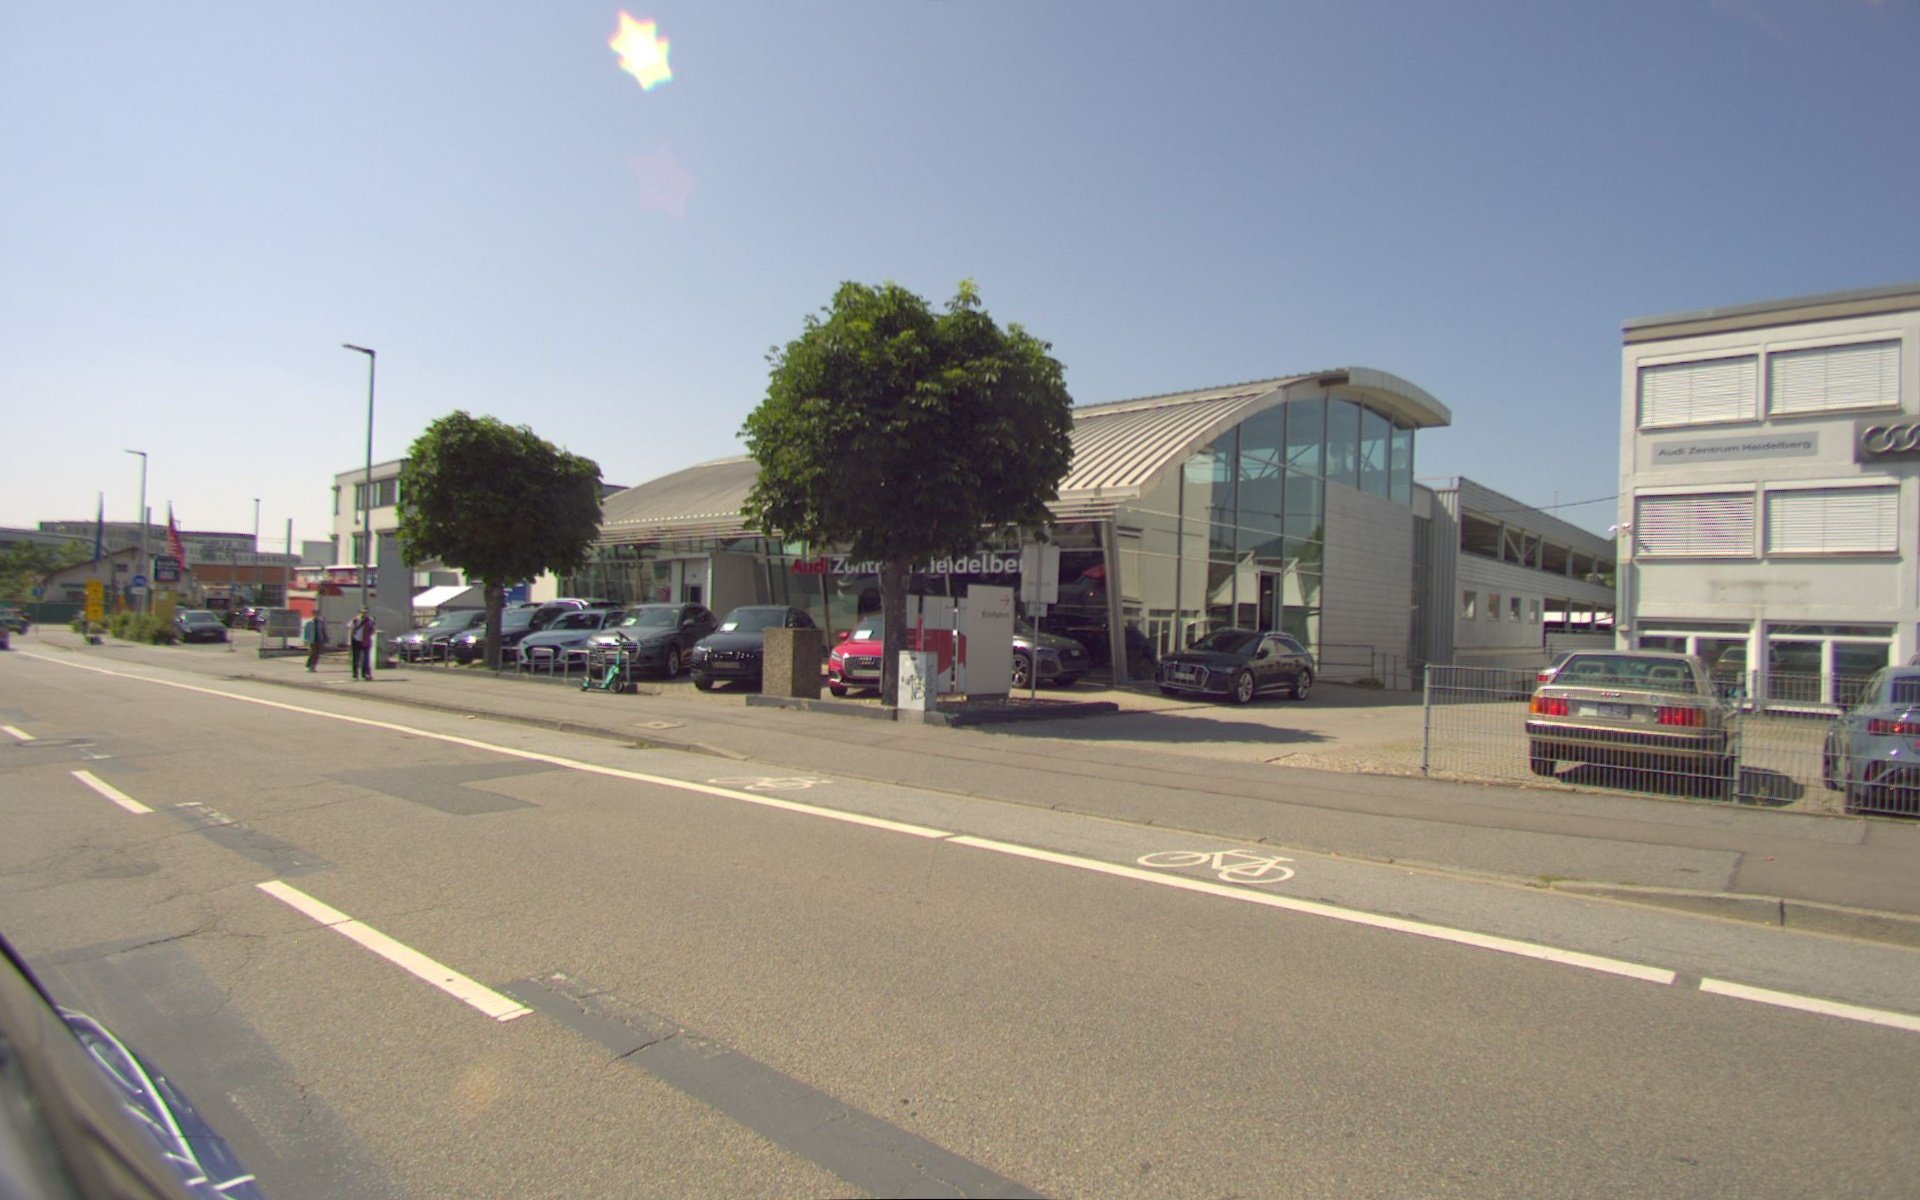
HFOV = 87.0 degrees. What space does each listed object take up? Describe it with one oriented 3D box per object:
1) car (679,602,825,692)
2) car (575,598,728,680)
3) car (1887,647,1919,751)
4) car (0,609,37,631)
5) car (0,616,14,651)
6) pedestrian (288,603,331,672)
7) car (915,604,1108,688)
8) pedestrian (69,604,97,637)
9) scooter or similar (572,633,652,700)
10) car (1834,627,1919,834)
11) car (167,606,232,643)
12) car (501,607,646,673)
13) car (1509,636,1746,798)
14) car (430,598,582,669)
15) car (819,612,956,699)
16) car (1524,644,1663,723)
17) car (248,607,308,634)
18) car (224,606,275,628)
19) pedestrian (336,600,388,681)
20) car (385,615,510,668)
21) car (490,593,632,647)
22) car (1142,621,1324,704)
[{"bbox_3d":[-4.355,0.914,21.936,1.887,1.720,4.474,0,0,5],"label":"car"},{"bbox_3d":[-7.050,0.857,23.653,1.836,1.709,4.572,0,-1,5],"label":"car"},{"bbox_3d":[17.207,1.645,17.138,1.857,1.565,4.312,0,-1,38],"label":"car"},{"bbox_3d":[-77.539,1.601,81.765,3.933,1.719,2.005,1,-1,-13],"label":"car"},{"bbox_3d":[-41.254,1.307,42.438,4.321,1.415,1.724,0,-6,40],"label":"car"},{"bbox_3d":[-17.793,1.023,27.669,0.911,1.862,0.715,-1,-2,40],"label":"pedestrian"},{"bbox_3d":[1.090,0.964,22.541,4.001,1.697,1.971,-1,-2,44],"label":"car"},{"bbox_3d":[-45.453,1.069,52.469,0.981,1.698,0.801,2,-2,-38],"label":"pedestrian"},{"bbox_3d":[-6.949,1.298,20.205,1.486,1.257,0.737,0,-1,33],"label":"scooter or similar"},{"bbox_3d":[9.509,1.143,9.496,1.822,1.455,3.852,3,4,39],"label":"car"},{"bbox_3d":[-37.588,1.195,49.993,4.000,1.728,1.884,-1,-2,43],"label":"car"},{"bbox_3d":[-9.866,0.961,26.203,1.851,1.506,4.196,1,0,5],"label":"car"},{"bbox_3d":[7.880,1.172,11.745,1.898,1.468,4.479,0,-2,39],"label":"car"},{"bbox_3d":[-12.853,0.889,29.003,1.941,1.620,4.476,-4,2,5],"label":"car"},{"bbox_3d":[-1.322,1.026,20.252,1.839,1.562,3.987,0,-1,10],"label":"car"},{"bbox_3d":[13.040,1.627,20.740,1.858,1.370,3.946,0,-1,40],"label":"car"},{"bbox_3d":[-38.219,1.149,56.650,4.420,1.432,1.886,-1,-2,44],"label":"car"},{"bbox_3d":[-46.262,1.094,65.849,4.486,1.399,1.886,-1,-2,44],"label":"car"},{"bbox_3d":[-14.217,0.956,24.042,1.046,1.882,0.725,-1,-2,41],"label":"pedestrian"},{"bbox_3d":[-15.574,1.222,31.025,1.880,1.470,4.163,0,0,-2],"label":"car"},{"bbox_3d":[-13.991,0.660,35.453,4.706,1.732,1.983,0,2,26],"label":"car"},{"bbox_3d":[5.842,1.315,21.589,3.418,1.518,1.890,3,1,-33],"label":"car"}]
